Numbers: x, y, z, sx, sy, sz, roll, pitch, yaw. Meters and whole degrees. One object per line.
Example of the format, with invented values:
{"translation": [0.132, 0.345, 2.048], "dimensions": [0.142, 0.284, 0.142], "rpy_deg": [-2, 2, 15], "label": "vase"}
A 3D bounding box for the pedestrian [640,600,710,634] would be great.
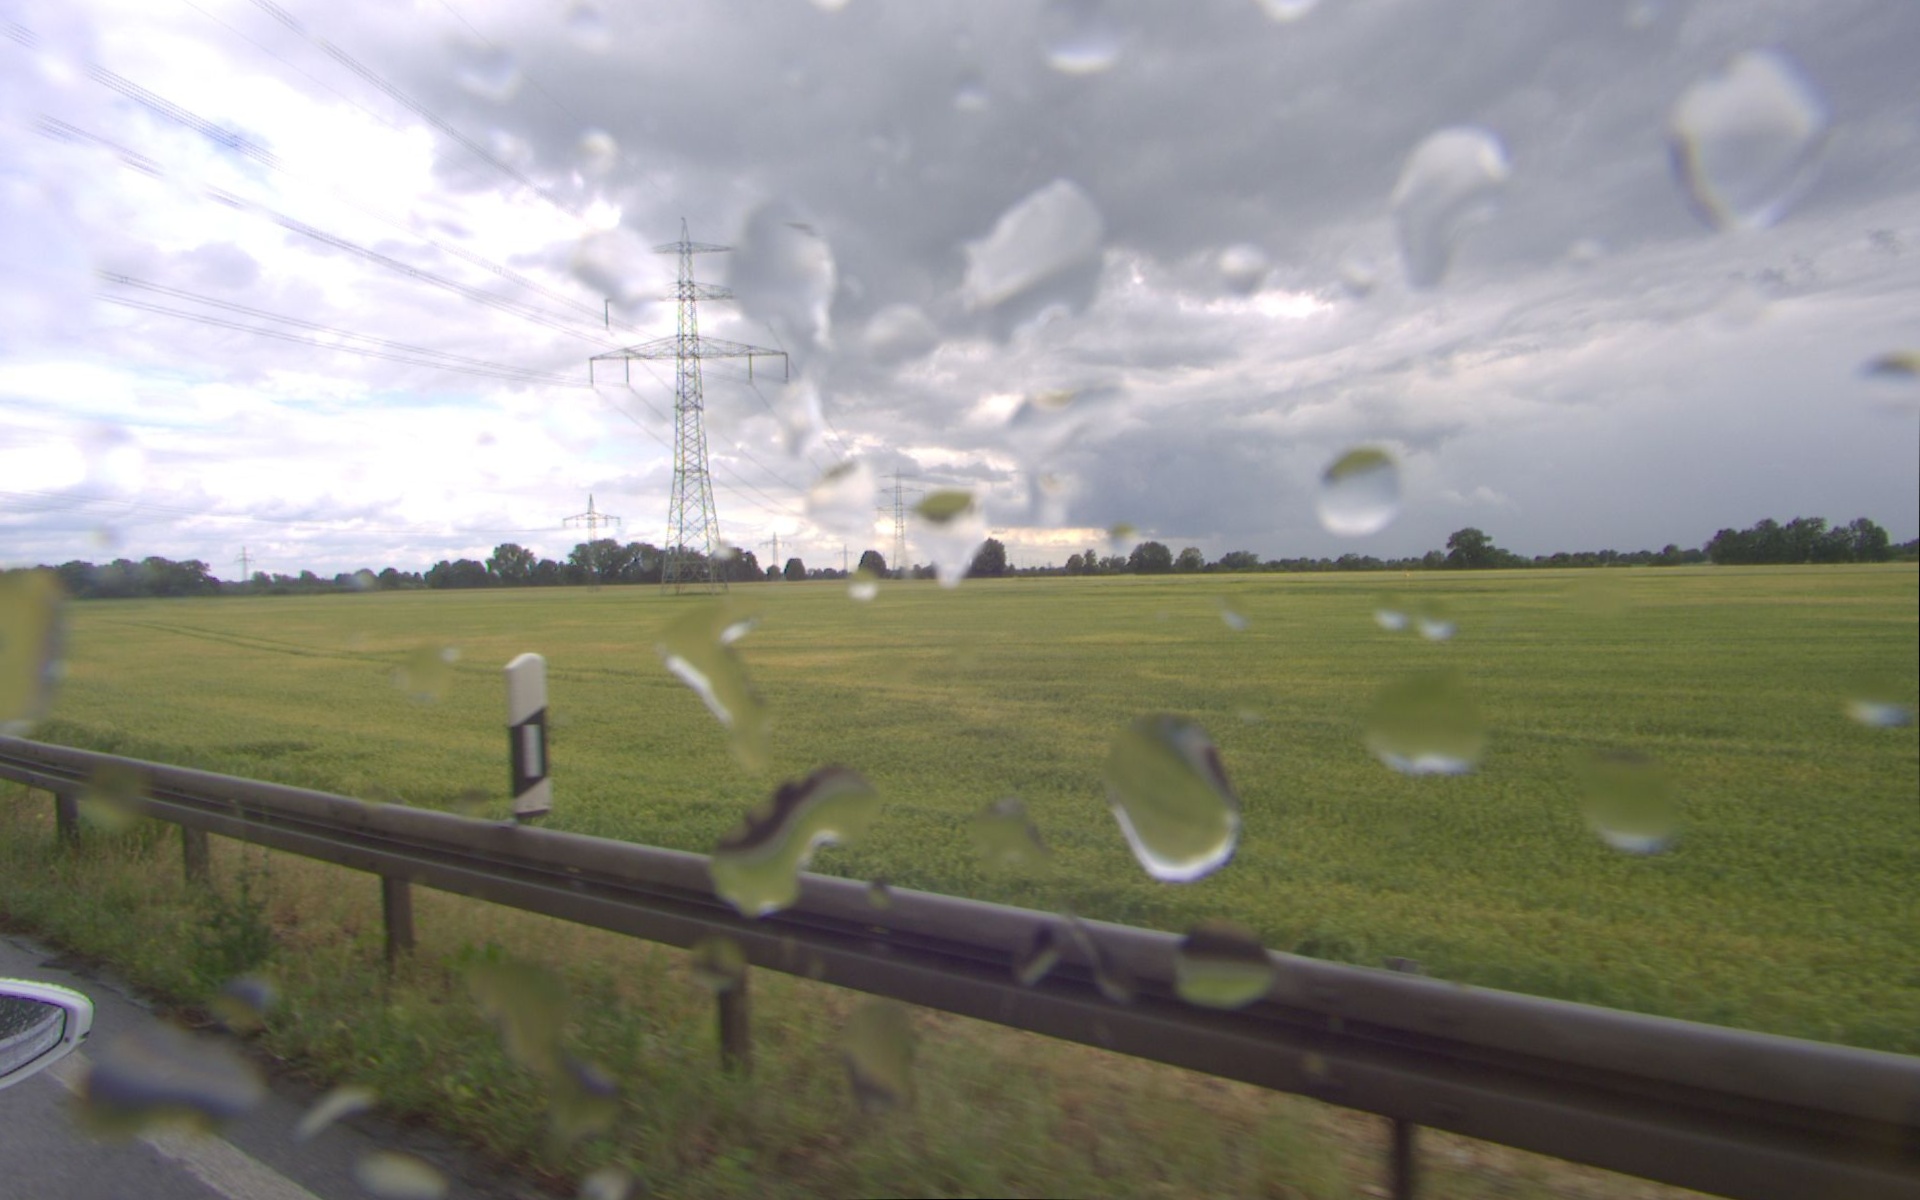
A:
{"translation": [-17.421, 1.072, 61.240], "dimensions": [3.943, 2.039, 1.990], "rpy_deg": [-1, -2, 32], "label": "pedestrian"}
